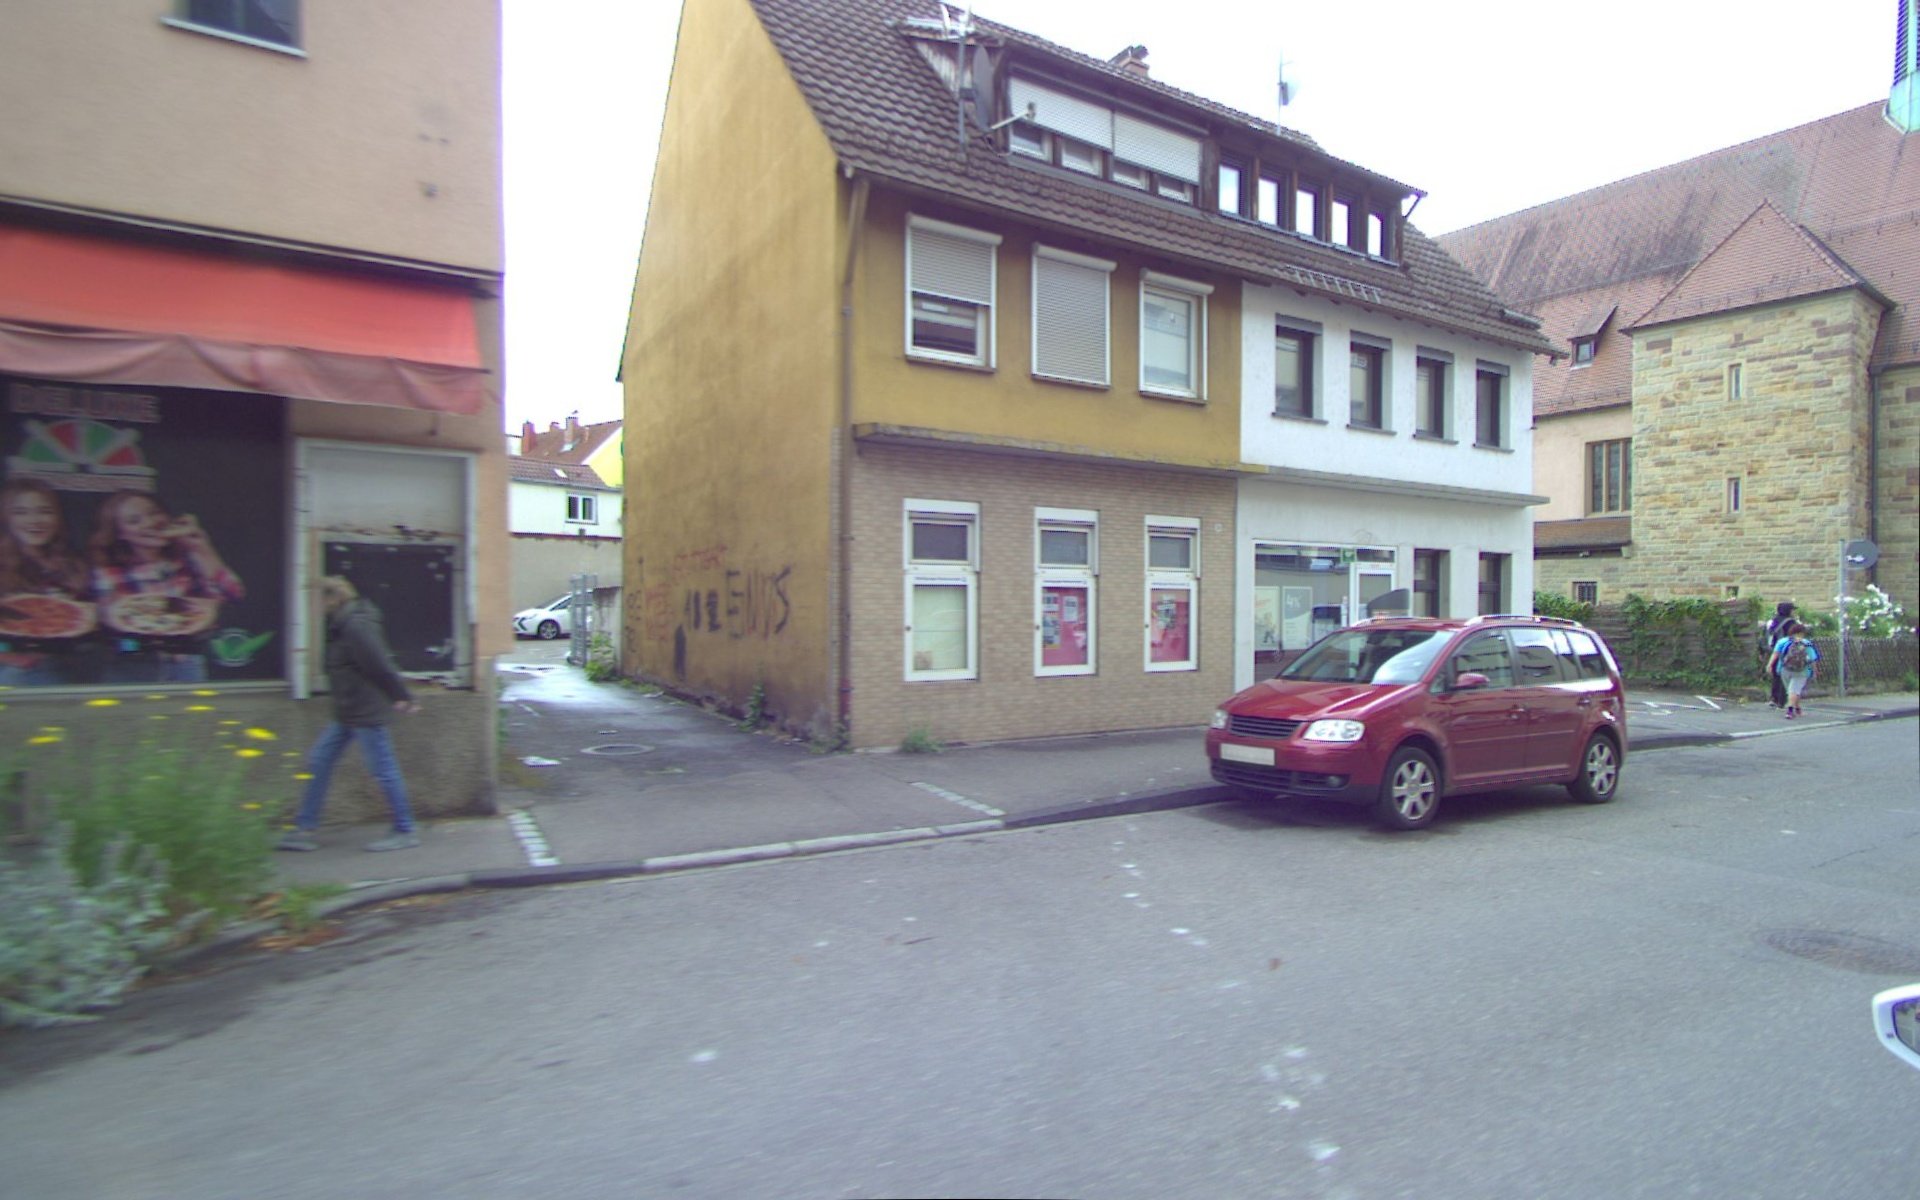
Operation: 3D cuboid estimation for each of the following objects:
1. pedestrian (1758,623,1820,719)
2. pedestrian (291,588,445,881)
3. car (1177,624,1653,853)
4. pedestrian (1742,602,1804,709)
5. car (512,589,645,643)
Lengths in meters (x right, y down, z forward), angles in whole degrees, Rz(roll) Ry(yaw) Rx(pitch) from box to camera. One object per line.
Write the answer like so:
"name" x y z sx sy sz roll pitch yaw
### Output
"pedestrian" 14.212 1.198 17.214 0.688 1.575 0.568 1 2 -30
"pedestrian" -3.651 0.760 6.184 0.751 1.650 0.725 0 0 -36
"car" 4.164 1.031 8.970 4.400 1.594 1.694 0 -2 -32
"pedestrian" 14.775 0.998 18.257 0.688 1.873 0.568 1 3 -30
"car" -13.235 0.567 34.894 3.961 1.751 1.980 1 -1 -36
